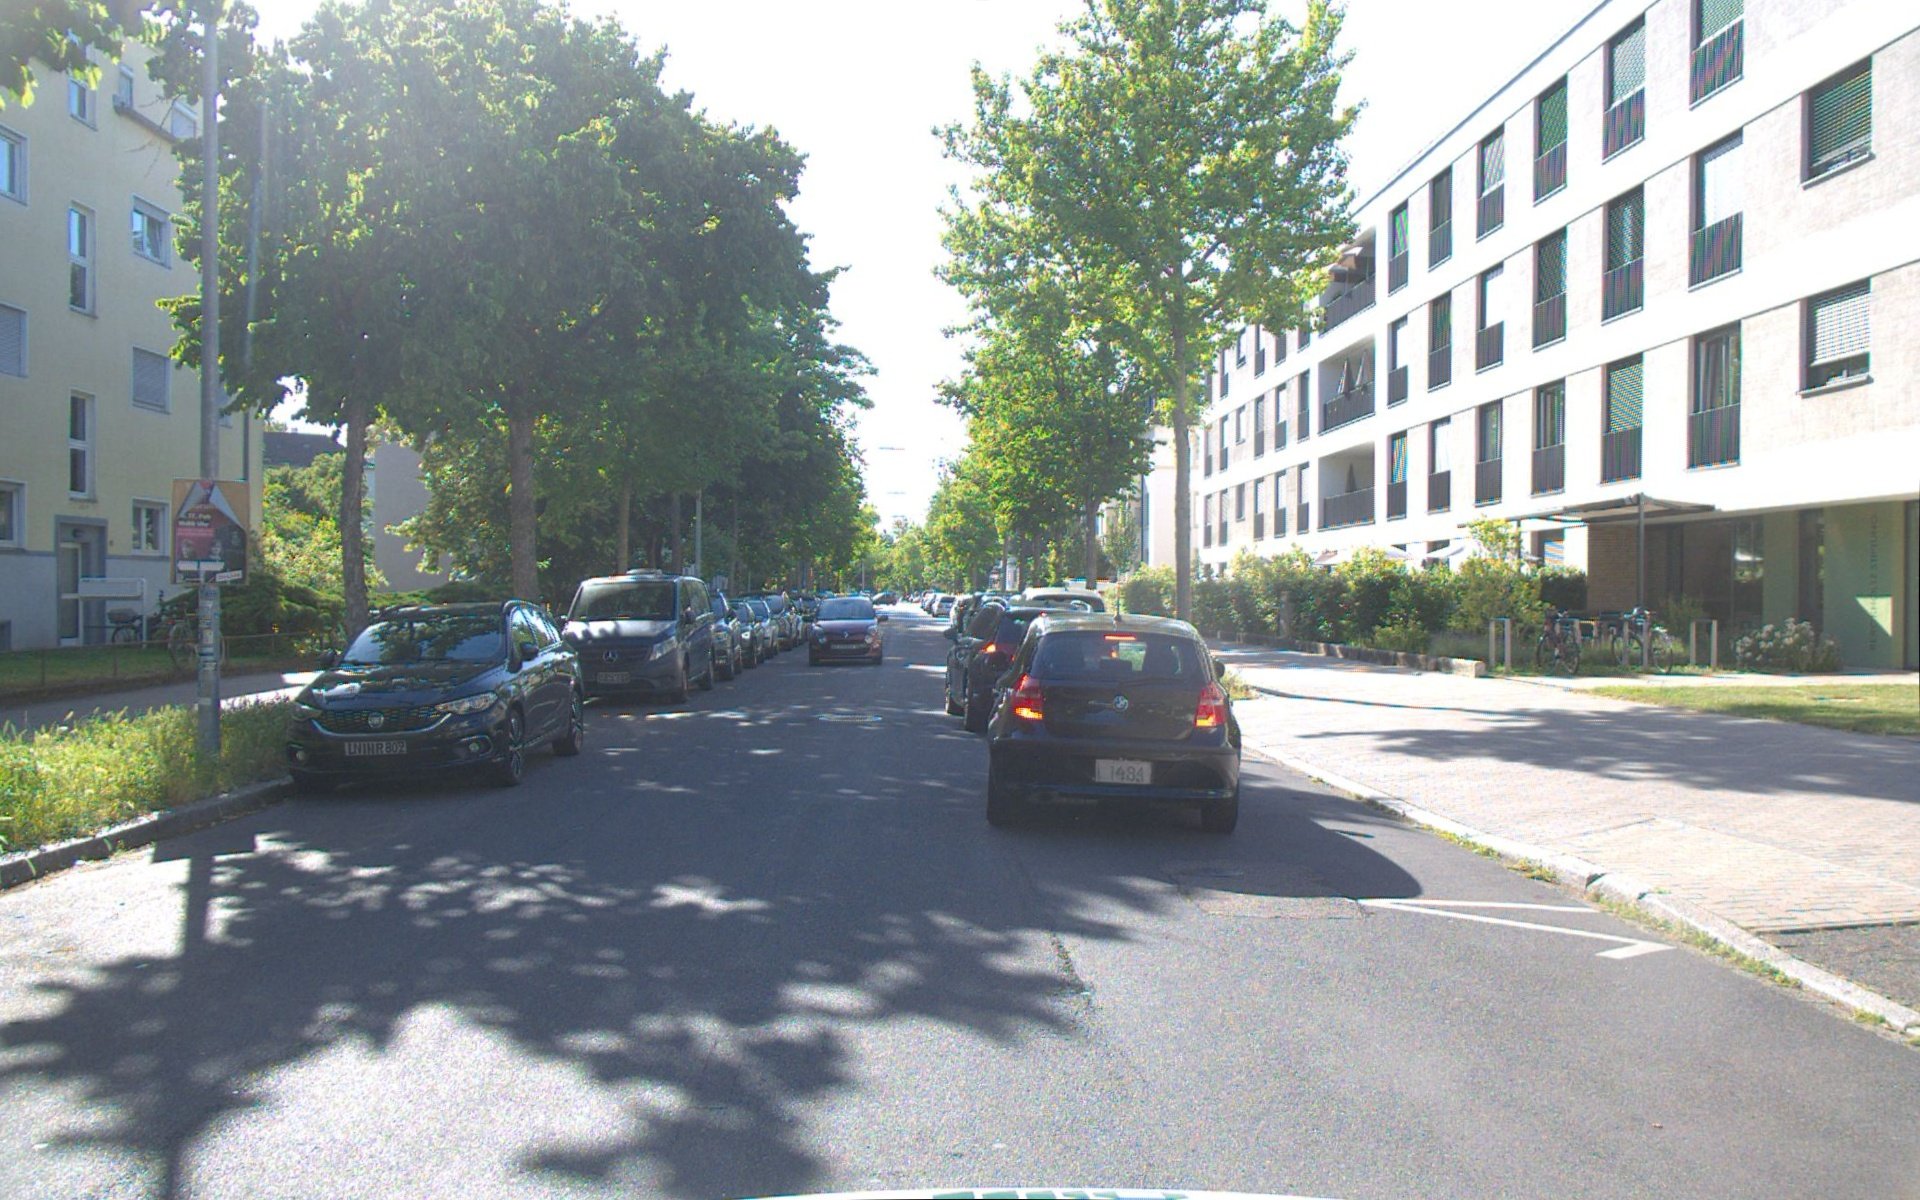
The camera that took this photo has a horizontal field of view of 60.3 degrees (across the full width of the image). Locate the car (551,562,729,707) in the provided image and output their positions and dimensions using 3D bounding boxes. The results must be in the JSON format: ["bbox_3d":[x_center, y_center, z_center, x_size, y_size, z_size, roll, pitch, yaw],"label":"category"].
[{"bbox_3d":[-4.749,0.466,25.271,1.789,1.938,5.140,-2,0,-1],"label":"car"}]

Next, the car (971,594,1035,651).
[{"bbox_3d":[1.225,0.623,48.917,1.686,1.555,3.999,2,0,-1],"label":"car"}]

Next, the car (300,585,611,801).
[{"bbox_3d":[-4.334,0.703,14.959,1.477,1.575,4.776,-2,0,-2],"label":"car"}]

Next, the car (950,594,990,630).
[{"bbox_3d":[0.443,0.535,74.811,1.686,1.506,3.850,2,0,-1],"label":"car"}]

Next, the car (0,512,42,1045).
[{"bbox_3d":[-3.922,0.626,3.013,1.812,1.710,4.974,-3,0,-2],"label":"car"}]

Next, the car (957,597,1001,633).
[{"bbox_3d":[0.780,0.600,70.034,1.686,1.403,3.850,2,0,-1],"label":"car"}]

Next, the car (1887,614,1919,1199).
[{"bbox_3d":[2.831,0.768,1.449,1.666,1.474,4.081,-1,0,-2],"label":"car"}]

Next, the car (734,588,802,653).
[{"bbox_3d":[-5.410,0.550,46.910,1.580,1.708,4.232,-1,0,-3],"label":"car"}]

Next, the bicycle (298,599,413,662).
[{"bbox_3d":[-12.312,0.617,33.732,2.108,1.230,0.688,-1,0,-13],"label":"bicycle"}]

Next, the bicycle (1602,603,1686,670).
[{"bbox_3d":[11.479,0.596,27.814,0.535,1.073,1.778,-1,0,-5],"label":"bicycle"}]

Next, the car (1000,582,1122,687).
[{"bbox_3d":[1.684,0.567,28.798,1.810,1.659,4.410,1,0,0],"label":"car"}]

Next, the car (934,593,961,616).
[{"bbox_3d":[-0.832,0.281,110.070,1.685,1.506,3.851,-1,0,1],"label":"car"}]

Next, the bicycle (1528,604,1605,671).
[{"bbox_3d":[10.145,0.606,27.720,0.535,1.073,1.690,-1,0,-5],"label":"bicycle"}]

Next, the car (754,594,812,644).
[{"bbox_3d":[-5.597,0.579,52.609,1.580,1.478,3.863,-1,0,-3],"label":"car"}]

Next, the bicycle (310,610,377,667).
[{"bbox_3d":[-11.500,0.707,30.891,0.582,1.009,1.927,0,0,-2],"label":"bicycle"}]

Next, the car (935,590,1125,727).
[{"bbox_3d":[0.733,0.615,19.845,1.618,1.450,3.994,-1,0,-8],"label":"car"}]

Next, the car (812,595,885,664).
[{"bbox_3d":[-2.437,0.618,36.766,1.475,1.451,3.177,-1,0,-2],"label":"car"}]

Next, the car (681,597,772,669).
[{"bbox_3d":[-5.073,0.680,36.385,1.580,1.452,4.056,-1,0,-3],"label":"car"}]

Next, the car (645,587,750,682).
[{"bbox_3d":[-4.865,0.599,31.082,1.580,1.639,4.226,-1,0,-4],"label":"car"}]

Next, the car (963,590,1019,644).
[{"bbox_3d":[0.995,0.546,54.919,1.686,1.669,3.850,2,0,-1],"label":"car"}]

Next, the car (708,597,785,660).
[{"bbox_3d":[-5.304,0.683,41.472,1.580,1.452,3.723,-1,0,-3],"label":"car"}]

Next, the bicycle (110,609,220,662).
[{"bbox_3d":[-15.955,0.705,33.233,1.886,1.009,0.595,-1,0,-9],"label":"bicycle"}]

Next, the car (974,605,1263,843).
[{"bbox_3d":[1.004,0.775,11.980,1.616,1.421,3.410,-1,0,-3],"label":"car"}]

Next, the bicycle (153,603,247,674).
[{"bbox_3d":[-11.430,0.565,24.932,0.582,1.009,1.927,0,0,-2],"label":"bicycle"}]

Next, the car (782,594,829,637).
[{"bbox_3d":[-5.956,0.581,64.122,1.580,1.570,3.863,-1,0,-3],"label":"car"}]
